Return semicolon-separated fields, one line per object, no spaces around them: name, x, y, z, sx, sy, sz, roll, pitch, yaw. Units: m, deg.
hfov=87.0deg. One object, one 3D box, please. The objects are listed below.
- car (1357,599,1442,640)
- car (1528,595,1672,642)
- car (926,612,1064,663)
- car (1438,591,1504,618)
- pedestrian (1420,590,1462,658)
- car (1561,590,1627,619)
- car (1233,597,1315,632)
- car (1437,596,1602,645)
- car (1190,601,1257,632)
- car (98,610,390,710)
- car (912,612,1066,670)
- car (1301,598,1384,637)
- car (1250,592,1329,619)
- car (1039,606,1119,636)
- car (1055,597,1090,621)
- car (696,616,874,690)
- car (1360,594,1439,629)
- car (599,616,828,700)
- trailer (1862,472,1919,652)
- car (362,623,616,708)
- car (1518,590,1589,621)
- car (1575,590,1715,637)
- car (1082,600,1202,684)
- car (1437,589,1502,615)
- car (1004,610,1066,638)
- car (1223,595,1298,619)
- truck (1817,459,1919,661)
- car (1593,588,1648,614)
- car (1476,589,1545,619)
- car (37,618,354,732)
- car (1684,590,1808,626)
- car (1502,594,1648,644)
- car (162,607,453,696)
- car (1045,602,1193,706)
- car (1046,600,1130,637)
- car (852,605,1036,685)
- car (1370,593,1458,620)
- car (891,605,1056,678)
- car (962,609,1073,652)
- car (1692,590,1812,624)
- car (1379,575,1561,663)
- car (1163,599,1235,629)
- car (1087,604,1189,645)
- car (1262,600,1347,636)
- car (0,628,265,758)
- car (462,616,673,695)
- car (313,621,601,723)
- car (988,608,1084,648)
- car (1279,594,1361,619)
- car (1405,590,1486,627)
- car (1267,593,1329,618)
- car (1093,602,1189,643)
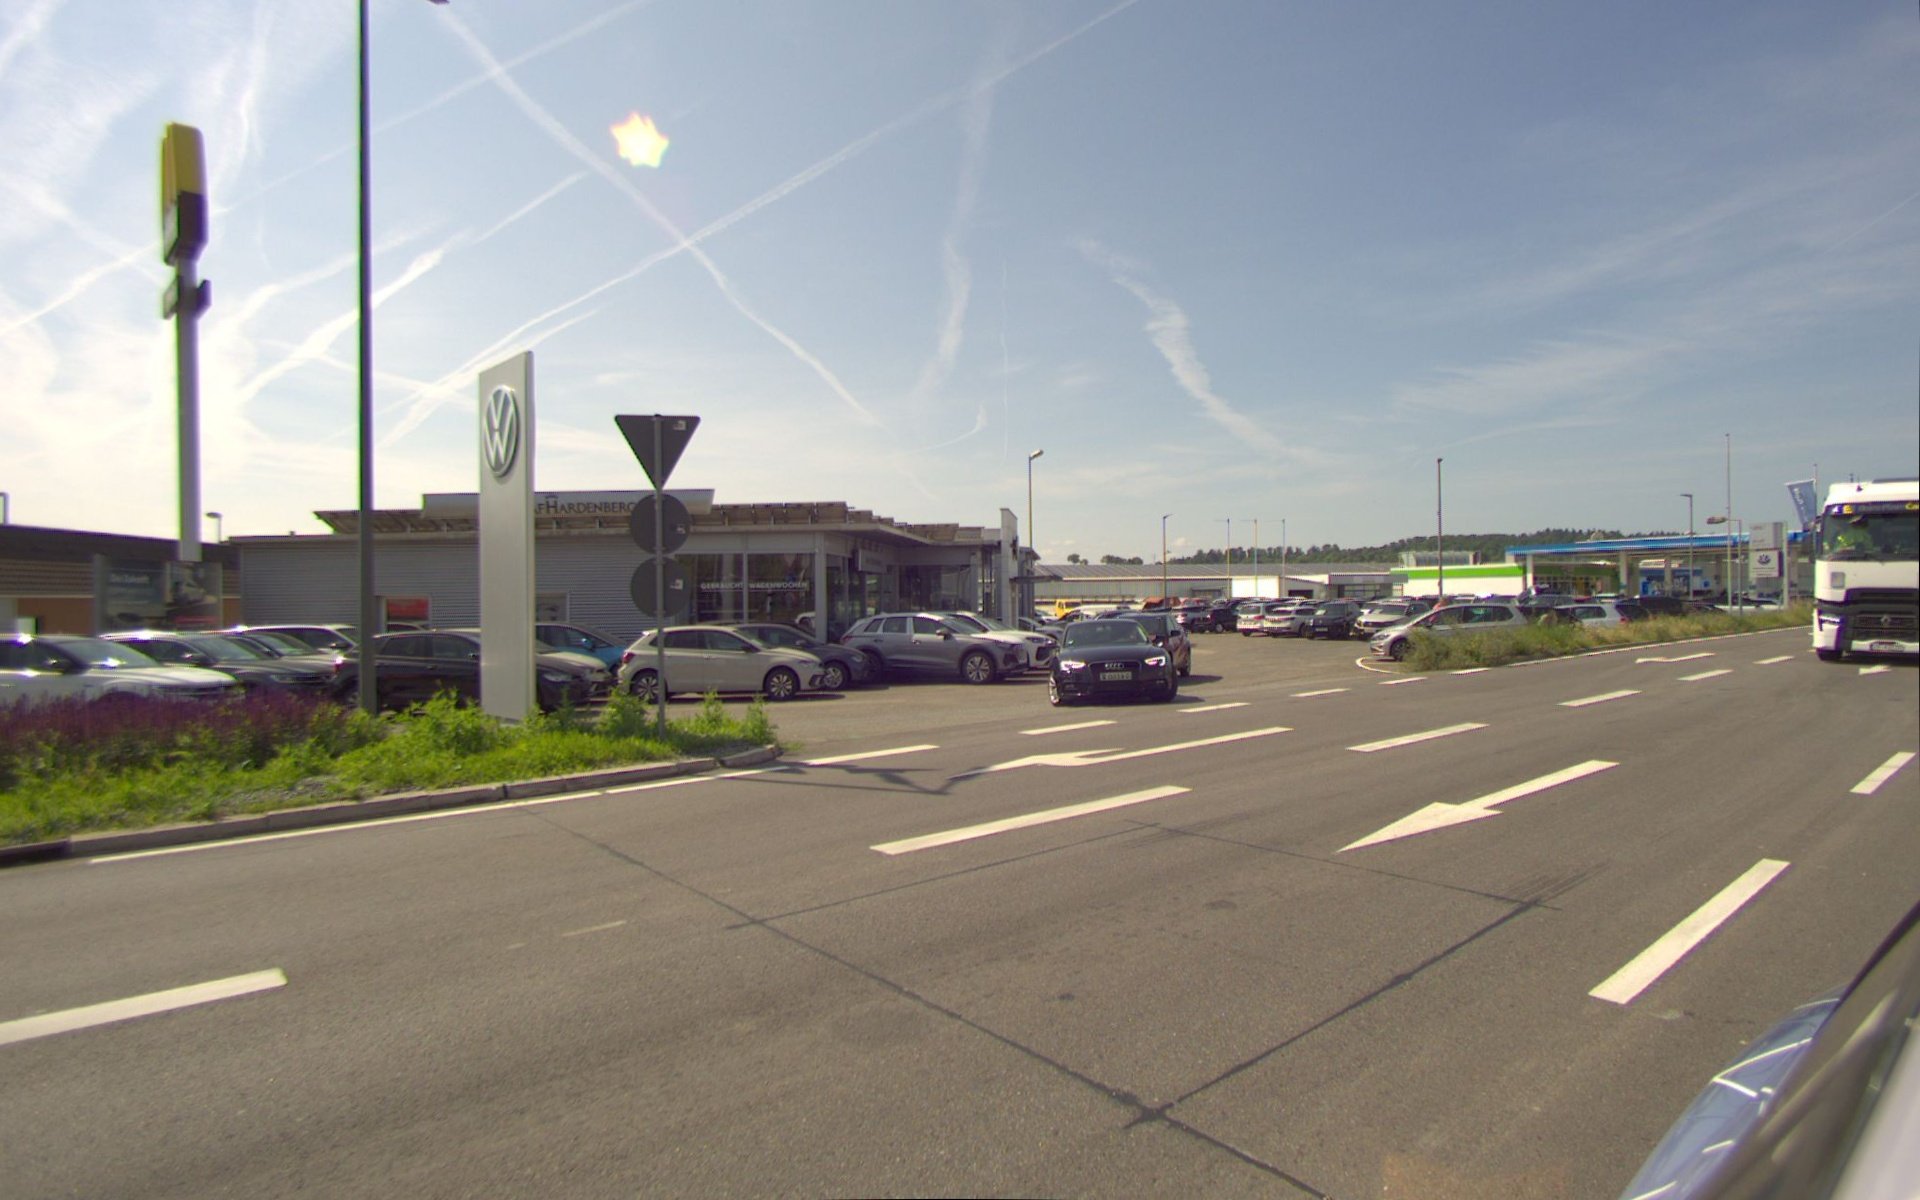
car;19.565;0.831;44.999;4.633;1.675;1.903;-1;1;-45
car;22.693;0.623;36.010;3.941;1.572;1.768;0;1;14
car;1.097;1.103;30.848;4.045;1.428;1.819;0;1;9
car;30.875;0.264;61.124;4.452;1.545;1.691;-1;1;-36
pedestrian;14.072;0.688;29.640;0.974;1.935;0.740;0;0;15
car;37.619;0.236;60.022;4.452;1.600;1.776;-1;1;-36
car;16.464;0.725;53.009;4.452;1.751;1.823;-1;1;-36
car;17.704;0.626;32.243;4.285;1.470;1.766;0;1;18
car;15.316;0.922;58.647;4.464;1.675;1.771;-1;1;-45
car;-13.078;1.049;18.694;4.087;1.692;1.778;0;0;-5
car;0.856;1.104;28.316;4.141;1.475;1.890;0;1;9
car;17.730;0.755;46.830;4.464;1.675;1.964;-1;1;-45
car;20.207;0.301;62.061;4.442;1.603;1.827;0;1;-19
car;6.457;1.137;55.033;4.028;1.510;1.764;0;1;21
car;9.518;0.761;85.839;2.167;1.955;4.164;0;1;-4
car;-3.765;1.134;22.290;3.719;1.495;1.752;0;1;-5
car;22.168;0.558;50.957;4.352;1.675;1.775;-1;1;-38
car;-4.752;1.105;20.001;4.179;1.510;1.751;0;1;-5
trailer;27.202;-0.956;27.540;11.095;4.281;2.611;-1;1;-41
car;-8.915;1.212;19.430;4.072;1.468;1.798;0;1;-5
car;33.193;0.261;56.569;4.452;1.675;1.776;-1;1;-36
car;25.361;0.482;37.623;3.945;1.675;1.767;0;1;17
car;4.196;0.888;22.883;1.756;1.675;4.045;-2;0;23
car;33.496;0.123;66.478;4.449;1.675;1.777;0;1;-32
car;5.057;1.598;68.467;3.899;1.751;1.953;1;1;43
car;19.575;0.412;66.004;4.442;1.493;1.827;0;1;-19
truck;21.271;-0.821;22.347;5.935;4.037;2.646;-1;1;-40
car;44.965;0.044;68.850;4.179;1.734;1.714;-1;1;-36
car;32.036;0.229;58.899;4.452;1.675;1.776;-1;1;-36
car;-12.443;1.183;16.691;3.831;1.692;1.778;0;0;-5
car;38.484;0.355;49.675;4.487;1.675;1.762;0;1;24
car;20.588;0.599;34.077;3.952;1.578;1.700;0;1;22
car;-13.324;1.018;20.926;4.722;1.692;1.914;0;1;-5
car;2.473;0.881;16.913;1.931;1.350;4.809;-4;-3;4
car;7.314;1.011;57.670;4.484;1.973;1.763;0;0;22
car;-0.357;0.996;23.561;3.974;1.692;1.765;0;1;19
car;26.799;0.335;59.857;1.910;1.477;4.543;0;1;-29
car;0.391;1.010;25.835;3.939;1.692;1.914;0;1;13
car;2.362;1.225;41.740;4.467;1.675;1.775;0;0;4
car;40.379;0.326;51.712;4.489;1.675;1.761;0;1;25
car;14.071;0.474;28.191;4.295;2.240;1.752;1;1;20
car;14.451;0.834;61.032;4.453;1.675;1.775;-1;1;-36
car;7.223;0.999;41.321;4.007;1.629;1.690;0;-1;8
car;17.100;0.844;50.222;4.453;1.675;1.776;-1;1;-36
car;-12.363;1.235;14.010;4.149;1.596;1.863;0;1;-5
car;-8.277;1.145;21.629;3.881;1.537;1.778;0;1;-5
car;-8.371;1.164;17.150;4.008;1.551;1.778;0;1;-5
car;3.287;1.193;44.000;4.095;1.675;1.775;0;0;4
car;21.239;0.372;59.738;4.390;1.449;1.827;0;1;-19
car;23.508;0.372;48.933;4.455;1.675;1.775;-1;1;-38
car;24.930;0.404;74.780;2.025;1.750;4.548;0;1;-17
car;7.822;0.965;43.976;4.009;1.675;1.772;0;0;8
